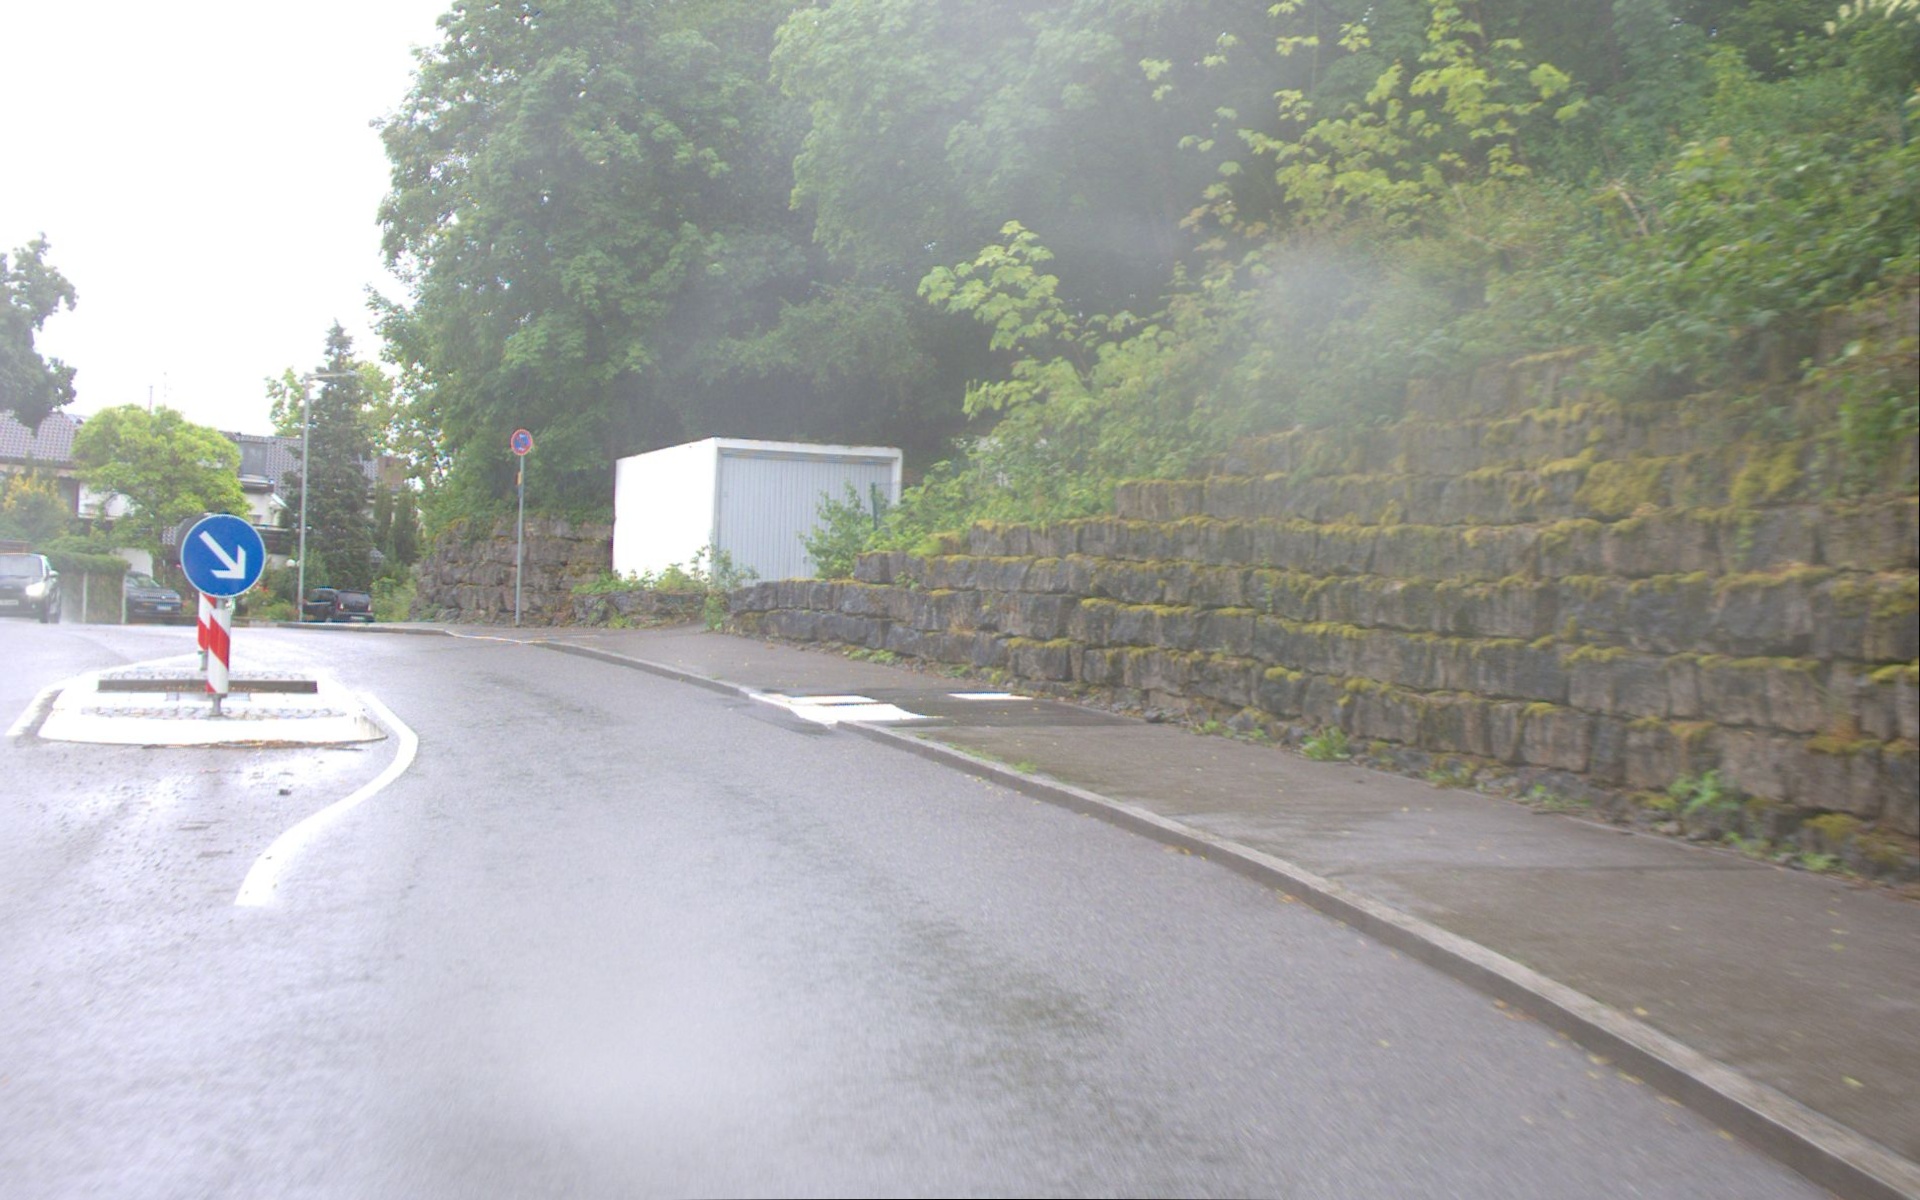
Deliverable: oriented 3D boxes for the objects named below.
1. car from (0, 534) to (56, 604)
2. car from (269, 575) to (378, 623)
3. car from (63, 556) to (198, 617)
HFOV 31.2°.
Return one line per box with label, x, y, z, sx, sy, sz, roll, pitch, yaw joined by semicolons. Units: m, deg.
car;-21.217;-0.695;76.604;1.831;1.515;4.628;0;1;-18
car;-21.497;-0.040;116.012;1.934;1.385;3.999;5;-2;-37
car;-25.857;-0.437;107.113;3.996;1.626;2.009;3;-1;39
